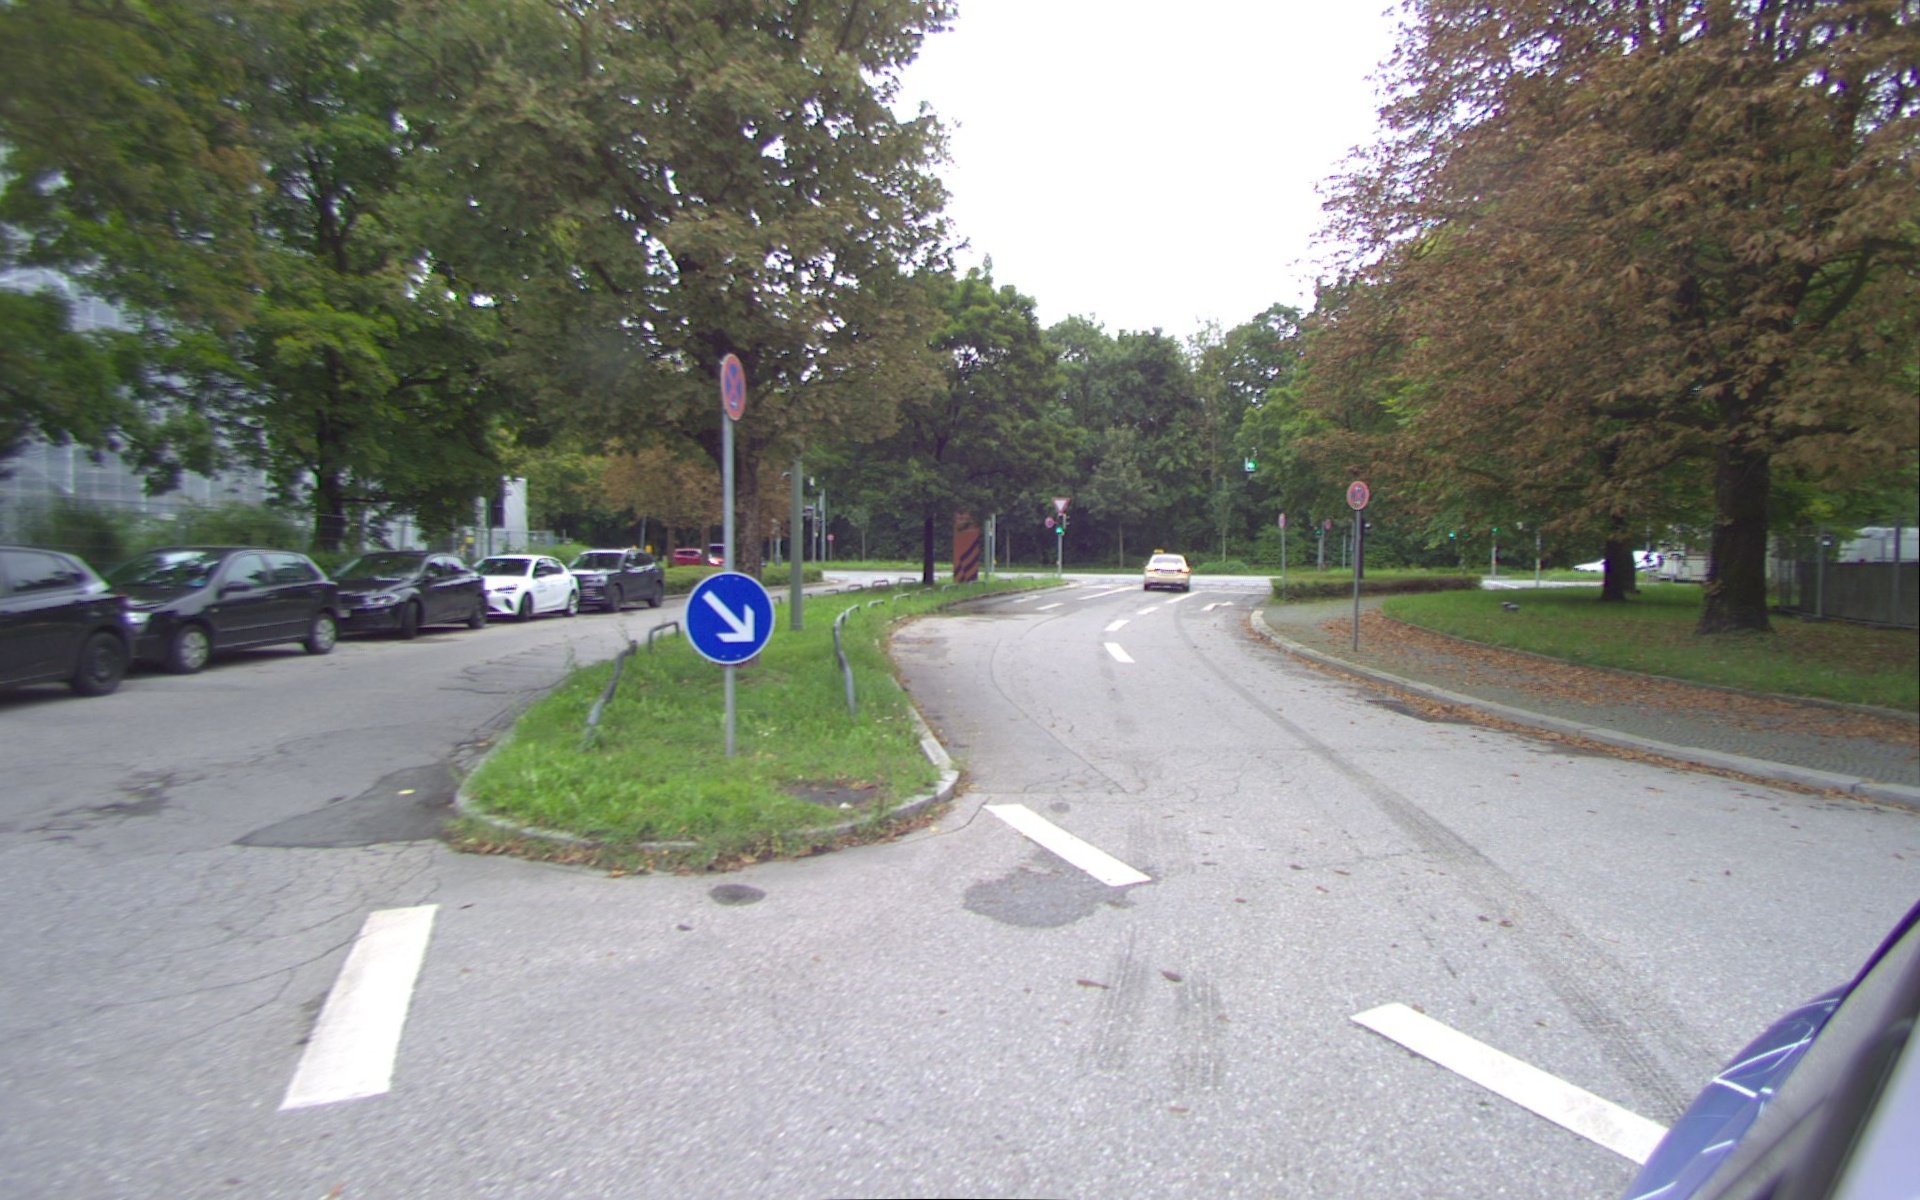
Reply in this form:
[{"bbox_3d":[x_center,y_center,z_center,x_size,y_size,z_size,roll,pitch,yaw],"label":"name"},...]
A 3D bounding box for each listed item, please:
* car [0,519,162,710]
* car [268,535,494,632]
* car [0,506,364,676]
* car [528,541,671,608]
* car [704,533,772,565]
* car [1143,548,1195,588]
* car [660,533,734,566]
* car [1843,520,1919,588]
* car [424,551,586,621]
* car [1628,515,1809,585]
[{"bbox_3d":[-8.800,0.124,8.072,1.960,1.560,4.006,0,2,-6],"label":"car"},{"bbox_3d":[-9.750,-0.329,17.440,1.804,1.478,4.010,0,2,-4],"label":"car"},{"bbox_3d":[-9.486,-0.172,12.597,1.960,1.727,4.005,2,2,-4],"label":"car"},{"bbox_3d":[-9.511,-0.660,27.112,1.859,1.626,4.388,0,1,7],"label":"car"},{"bbox_3d":[-14.604,-3.391,66.666,3.944,2.038,1.991,1,2,16],"label":"car"},{"bbox_3d":[8.680,-1.350,41.769,1.866,1.564,4.834,1,3,14],"label":"car"},{"bbox_3d":[-16.643,-3.201,64.073,4.099,2.038,1.991,1,2,16],"label":"car"},{"bbox_3d":[38.462,-1.787,39.595,5.392,2.612,2.063,2,3,21],"label":"car"},{"bbox_3d":[-9.925,-0.369,22.442,1.767,1.400,4.221,0,2,-1],"label":"car"},{"bbox_3d":[31.364,-2.089,42.090,5.529,2.767,2.063,2,3,21],"label":"car"}]
